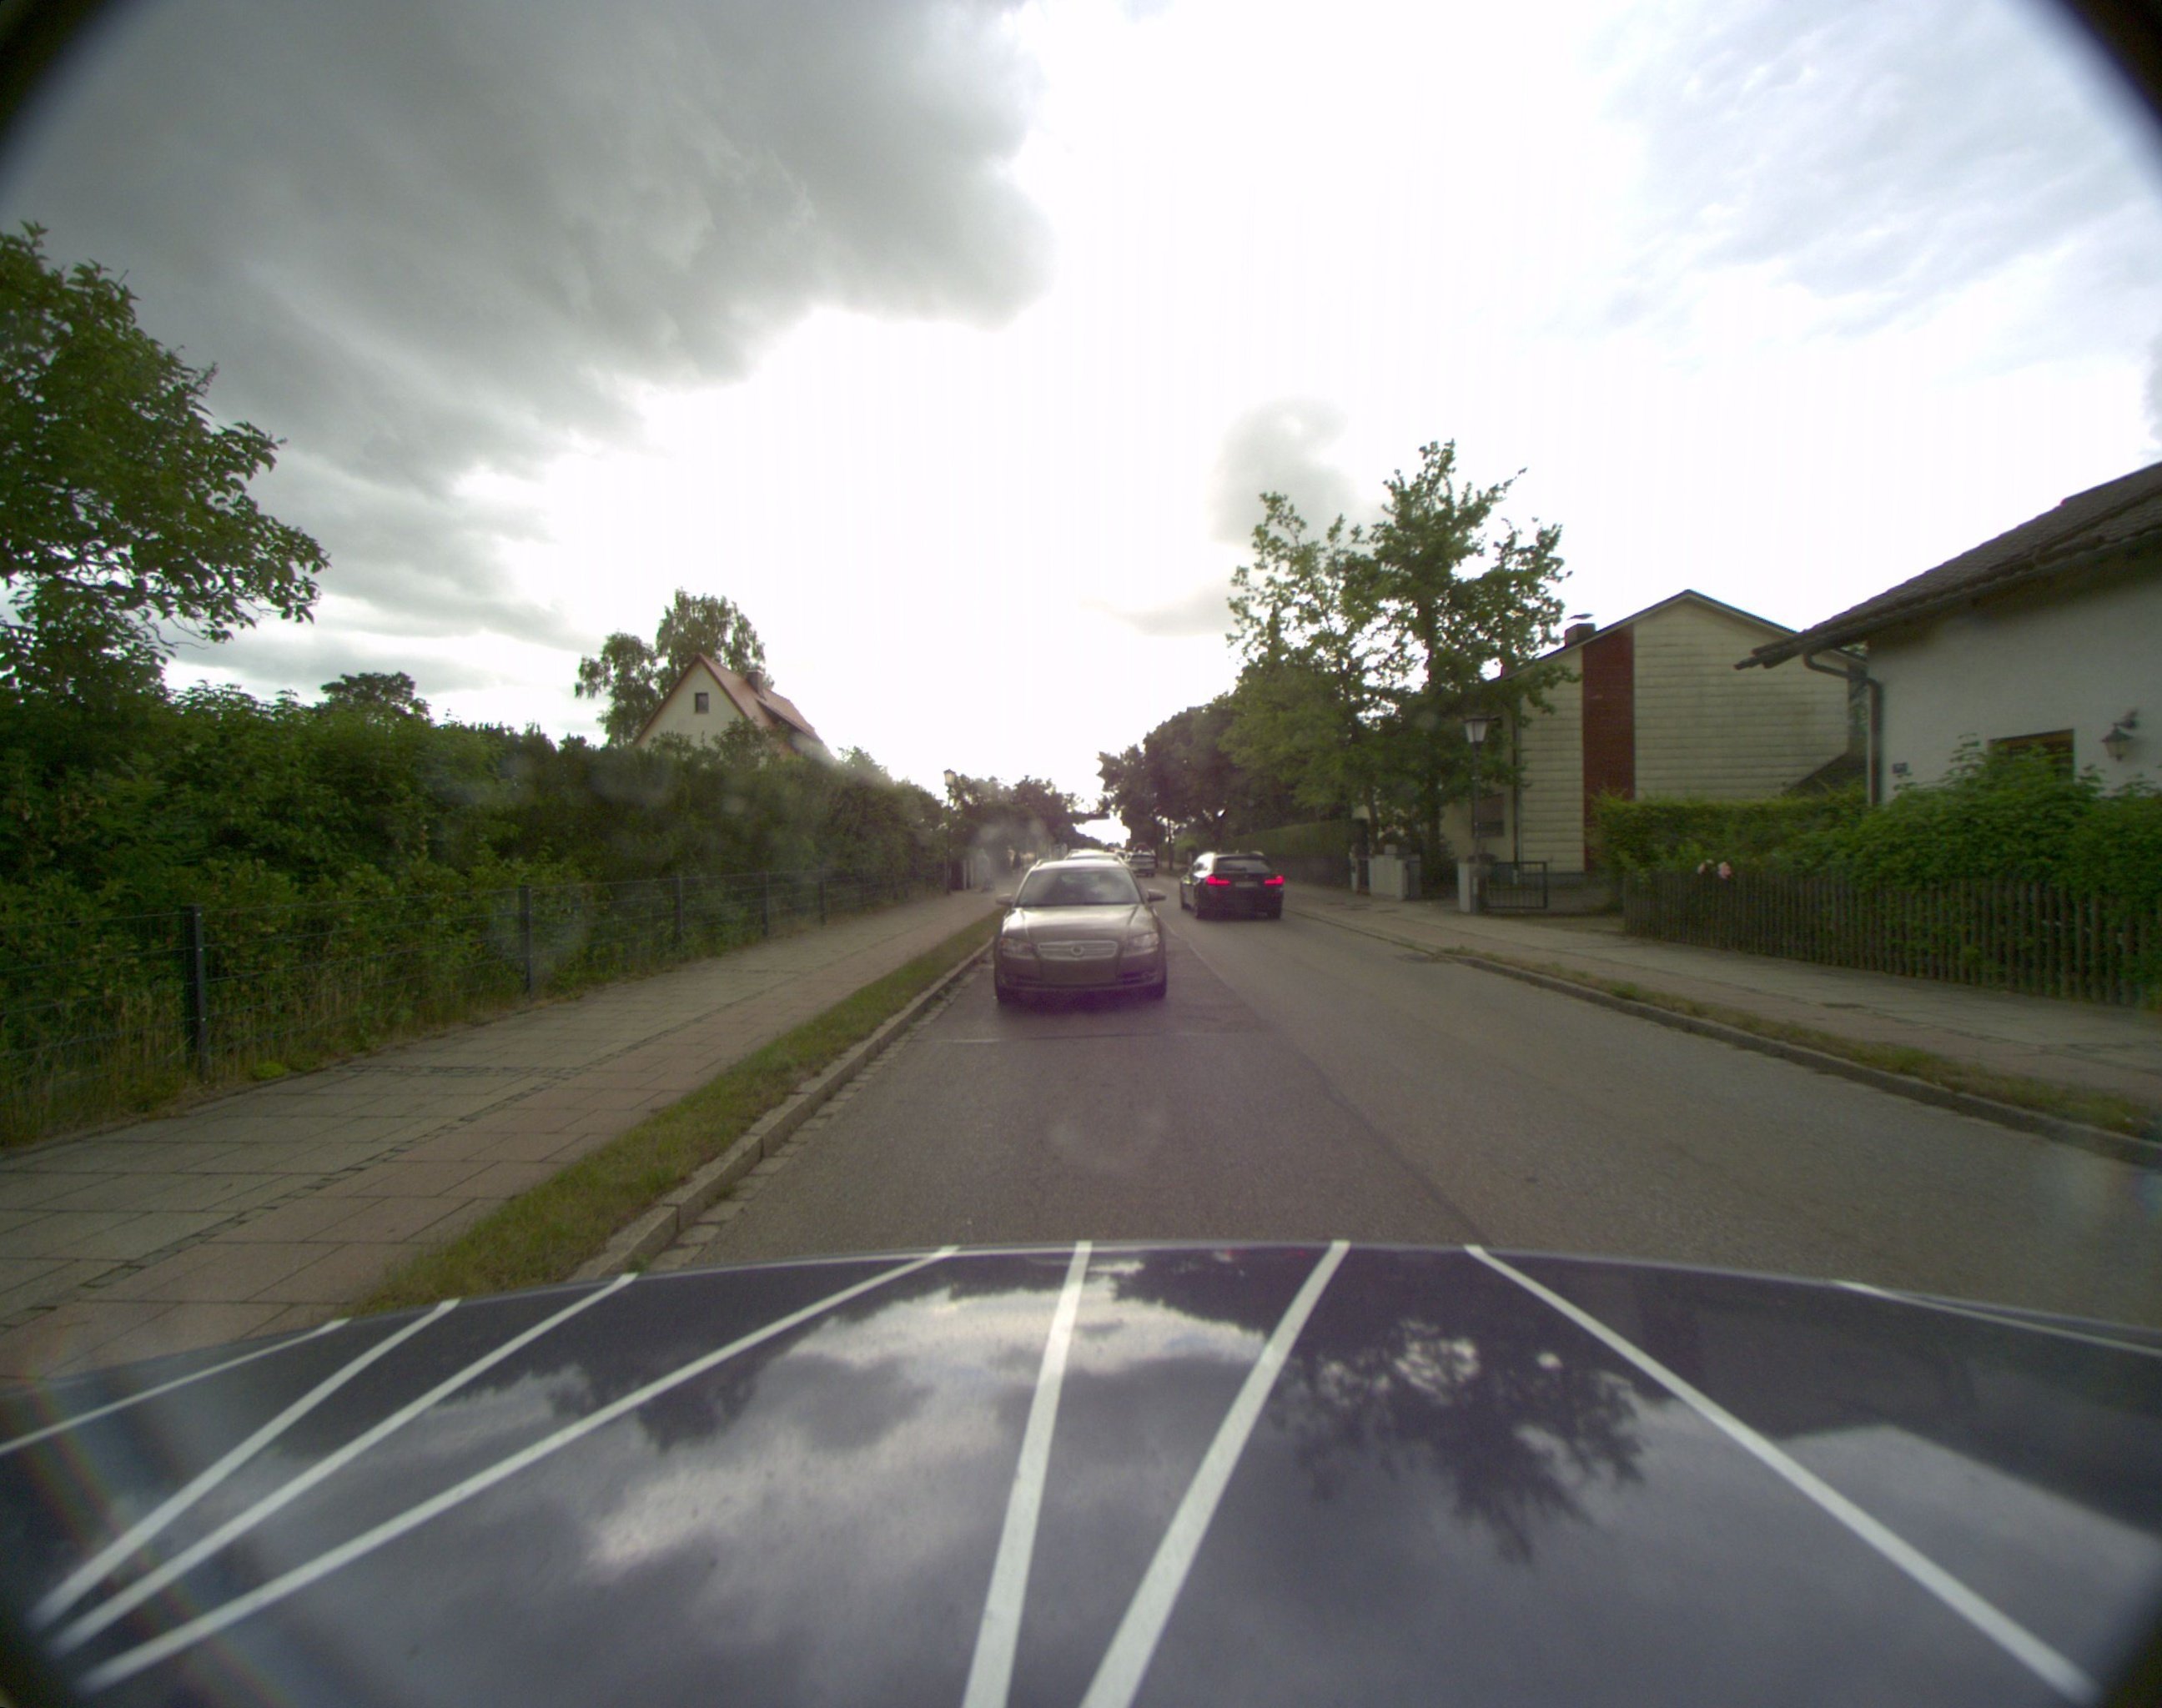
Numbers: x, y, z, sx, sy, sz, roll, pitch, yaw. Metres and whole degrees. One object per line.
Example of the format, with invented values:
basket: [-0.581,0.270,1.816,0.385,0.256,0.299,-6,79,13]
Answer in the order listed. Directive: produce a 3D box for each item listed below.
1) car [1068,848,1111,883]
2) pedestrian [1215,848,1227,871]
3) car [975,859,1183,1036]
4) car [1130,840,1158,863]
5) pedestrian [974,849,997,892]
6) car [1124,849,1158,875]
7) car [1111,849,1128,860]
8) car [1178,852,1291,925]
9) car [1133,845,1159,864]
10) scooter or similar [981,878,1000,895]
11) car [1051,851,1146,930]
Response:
car: [0.395,0.521,36.109,1.866,1.518,4.122,-2,0,0]
pedestrian: [8.659,0.320,47.004,0.631,1.429,0.563,-1,1,1]
car: [-0.001,0.845,8.884,1.809,1.476,4.270,-2,0,0]
car: [6.468,-0.264,78.459,2.246,2.258,4.469,-2,0,-2]
pedestrian: [-3.581,0.622,28.388,0.793,1.593,0.670,0,1,-12]
car: [3.689,0.471,47.161,1.756,1.475,4.375,-2,0,0]
car: [4.868,0.037,97.272,2.029,1.362,4.000,-1,0,2]
car: [3.439,0.703,17.893,1.851,1.445,4.549,-1,0,2]
car: [6.154,0.012,72.409,1.999,1.740,3.999,-1,0,-2]
scooter or similar: [-3.300,1.180,27.722,0.619,0.553,0.741,-1,0,-13]
car: [0.368,0.731,17.776,1.866,1.518,4.942,-2,0,0]
